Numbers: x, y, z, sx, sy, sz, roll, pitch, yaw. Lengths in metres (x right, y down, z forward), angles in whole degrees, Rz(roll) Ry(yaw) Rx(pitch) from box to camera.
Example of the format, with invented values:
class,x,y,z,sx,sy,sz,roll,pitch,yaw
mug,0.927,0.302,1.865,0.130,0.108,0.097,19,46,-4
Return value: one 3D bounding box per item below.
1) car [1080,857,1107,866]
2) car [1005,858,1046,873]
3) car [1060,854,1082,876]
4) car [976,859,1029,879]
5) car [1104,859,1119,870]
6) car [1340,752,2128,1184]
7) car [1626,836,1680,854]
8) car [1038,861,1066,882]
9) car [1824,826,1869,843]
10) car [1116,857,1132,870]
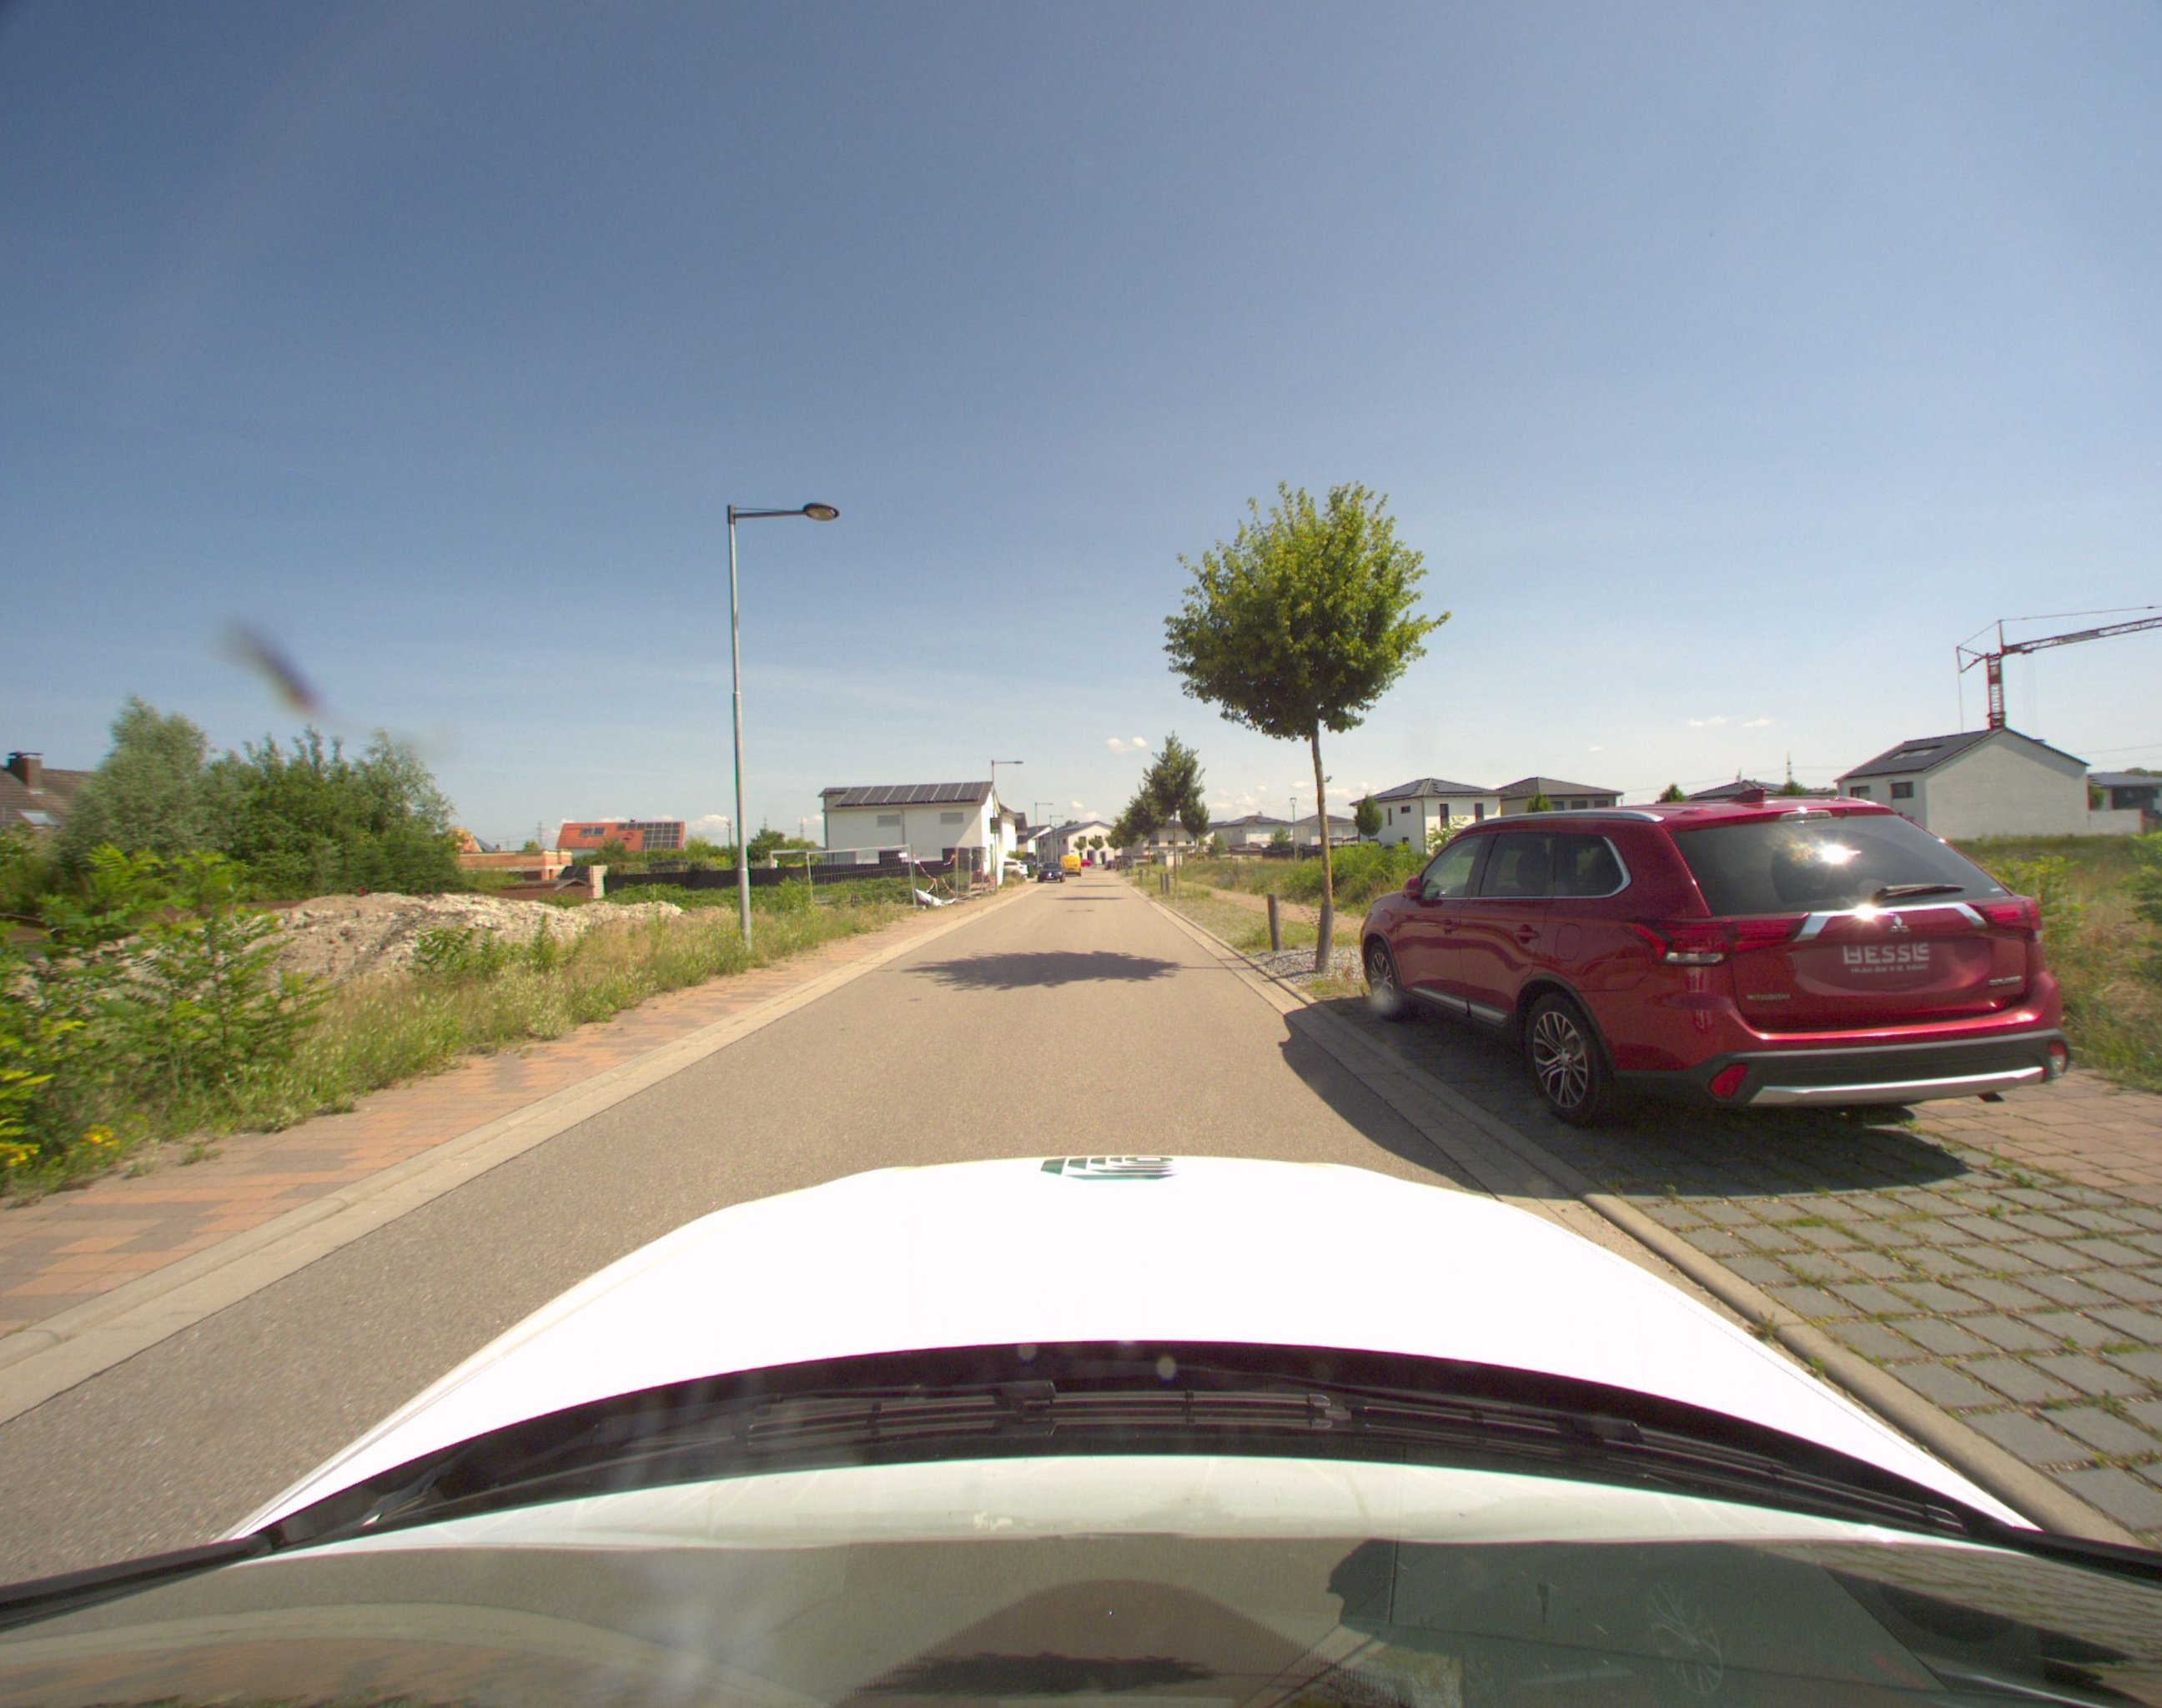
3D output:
class,x,y,z,sx,sy,sz,roll,pitch,yaw
car,2.293,1.303,148.430,4.722,1.432,1.977,0,-4,-37
car,-6.042,1.273,88.371,4.168,1.505,1.806,2,-1,-15
car,-0.962,1.066,77.590,1.937,1.981,4.212,-2,-1,-3
car,-6.549,1.277,67.995,4.047,1.581,1.787,-1,0,6
car,4.301,1.478,116.231,1.625,1.322,3.825,-2,-2,-6
car,3.383,0.458,5.552,1.771,1.663,4.434,-3,0,0
car,51.165,-0.824,72.867,3.991,1.398,1.742,-2,-1,-13
car,-2.024,1.203,57.440,1.739,1.405,4.160,0,0,1
car,84.764,-2.168,90.165,4.238,1.753,1.817,-2,-1,-18
car,5.104,1.181,97.609,1.634,1.403,3.810,-2,-2,0
